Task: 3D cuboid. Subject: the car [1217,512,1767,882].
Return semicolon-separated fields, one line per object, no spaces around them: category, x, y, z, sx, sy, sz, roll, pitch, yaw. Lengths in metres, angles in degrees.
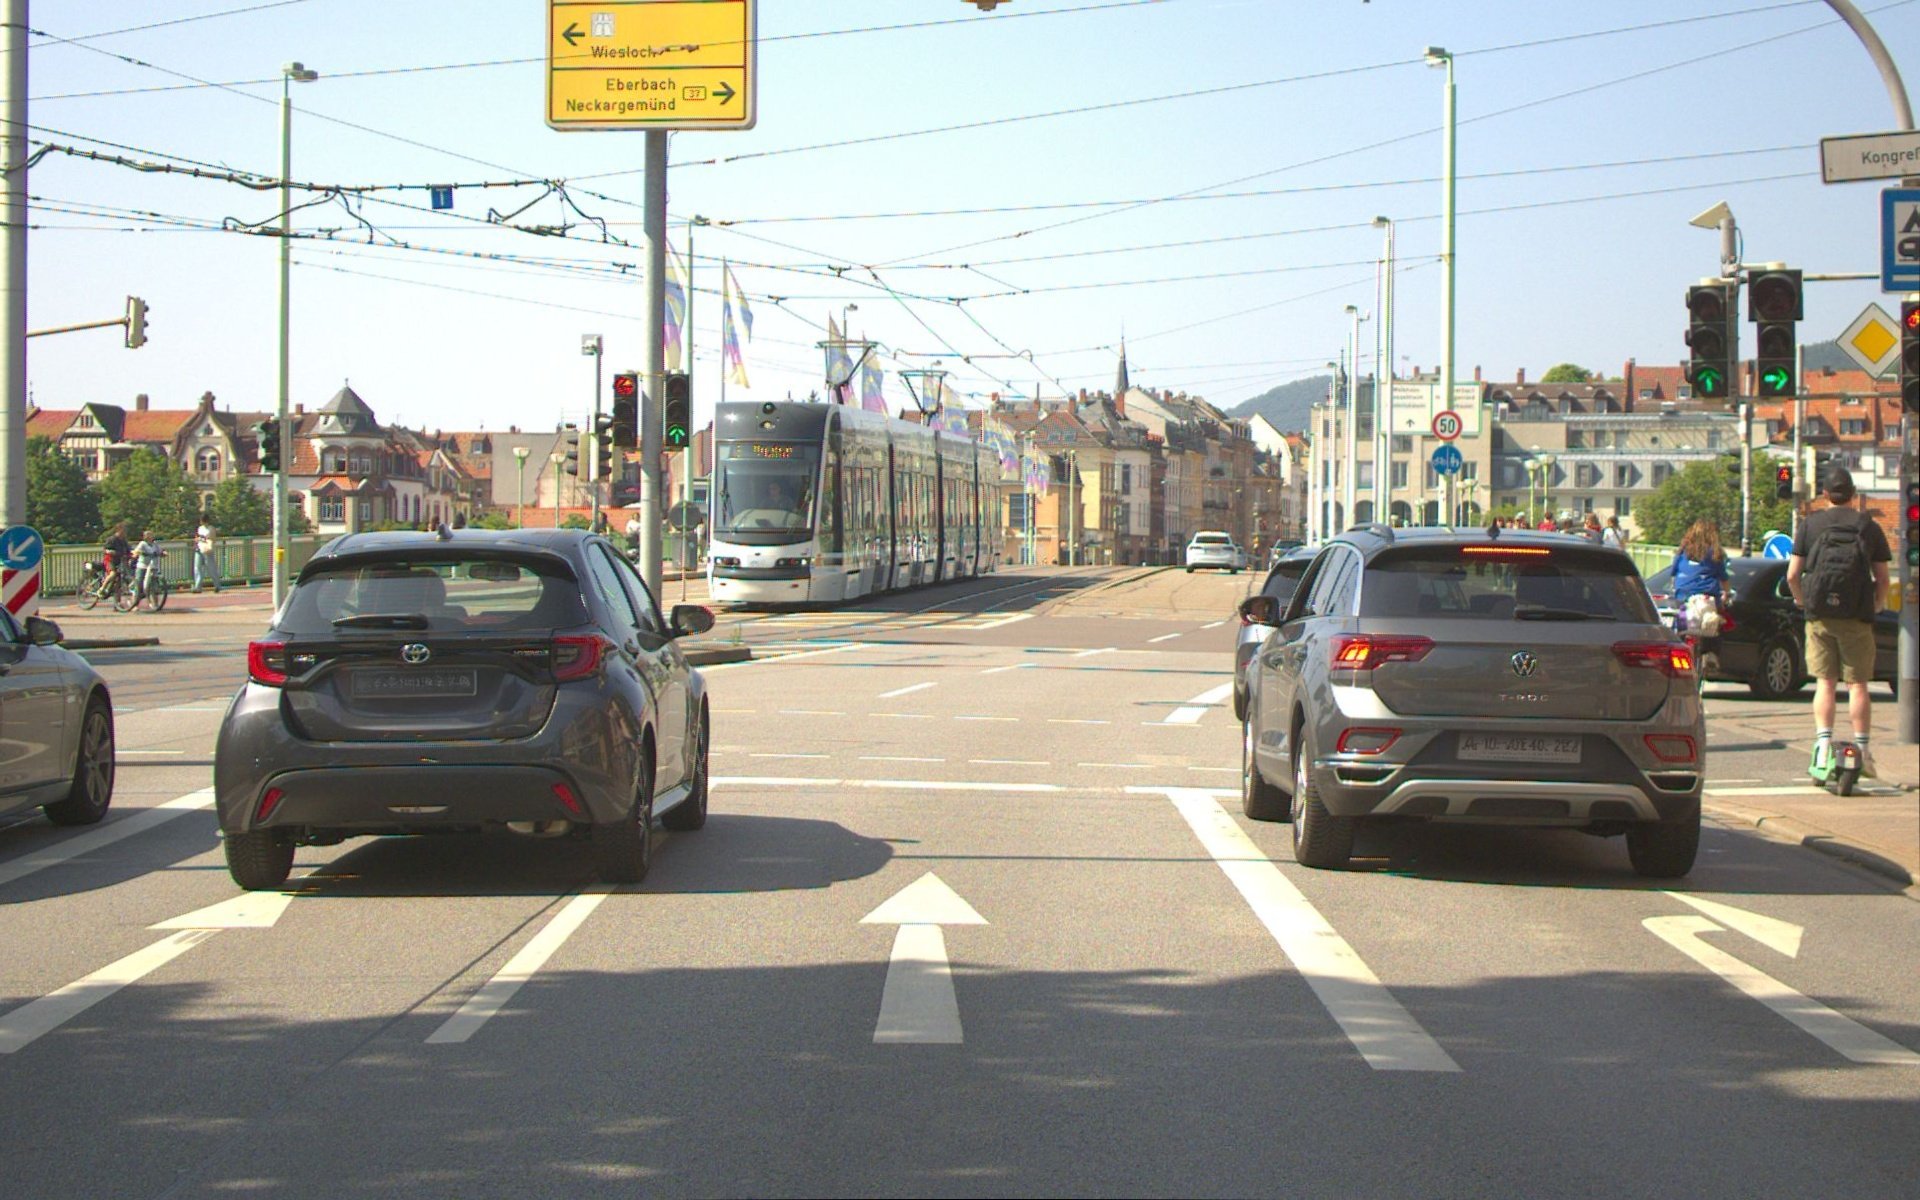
car;2.398;0.361;16.536;1.929;1.510;3.993;2;1;-1

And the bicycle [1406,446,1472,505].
bicycle;9.281;-2.397;66.783;0.792;1.092;3.745;0;1;1

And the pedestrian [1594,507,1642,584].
pedestrian;14.063;-1.162;73.484;0.799;1.629;0.950;0;1;-1

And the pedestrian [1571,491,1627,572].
pedestrian;14.049;-1.516;75.597;0.985;1.763;1.254;0;1;-1

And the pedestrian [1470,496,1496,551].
pedestrian;16.852;-2.481;110.819;0.654;1.737;0.978;1;2;0

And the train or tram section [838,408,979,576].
train or tram section;-1.101;-2.521;79.972;2.404;3.668;9.619;0;2;4

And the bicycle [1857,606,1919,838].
bicycle;5.069;0.611;16.770;0.778;1.098;2.139;0;1;-1

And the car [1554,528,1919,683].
car;8.171;0.006;35.605;3.989;1.431;1.999;-2;3;-44

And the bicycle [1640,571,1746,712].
bicycle;6.493;0.346;30.537;0.615;1.160;2.249;1;1;5

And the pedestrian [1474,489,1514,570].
pedestrian;13.300;-1.754;85.688;0.803;2.007;0.954;1;1;-1

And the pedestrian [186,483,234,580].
pedestrian;-15.617;-1.433;71.594;0.898;2.007;0.835;-1;1;-17

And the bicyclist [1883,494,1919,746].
bicyclist;5.085;0.091;16.717;0.920;1.215;0.972;0;1;-1

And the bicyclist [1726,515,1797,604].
bicyclist;13.726;-0.704;58.911;1.080;1.469;0.800;2;2;9

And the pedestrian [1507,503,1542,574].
pedestrian;13.848;-1.508;84.366;0.695;1.710;0.732;1;1;-1

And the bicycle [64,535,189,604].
bicycle;-15.673;-0.576;64.666;2.236;1.274;0.740;-1;1;-17

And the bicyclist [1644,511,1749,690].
bicyclist;6.500;-0.011;30.381;0.775;1.548;1.059;1;2;6

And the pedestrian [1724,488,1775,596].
pedestrian;13.733;-1.011;59.804;0.774;1.849;0.644;1;2;8

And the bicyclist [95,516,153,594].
bicyclist;-15.730;-0.854;64.675;1.003;1.444;0.816;-1;1;-17

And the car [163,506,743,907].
car;-2.131;0.373;15.580;1.910;1.535;4.000;-2;1;1

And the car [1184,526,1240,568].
car;8.892;-1.859;121.541;1.804;1.464;4.000;-1;0;2

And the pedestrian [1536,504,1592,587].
pedestrian;12.943;-1.172;73.702;0.985;1.744;0.930;1;1;-1

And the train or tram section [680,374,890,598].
train or tram section;-3.041;-2.069;62.382;2.537;3.764;9.168;0;2;5

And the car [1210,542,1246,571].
car;16.114;-2.623;206.863;1.994;1.711;4.000;1;1;3

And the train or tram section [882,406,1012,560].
train or tram section;-0.235;-3.061;89.943;2.470;3.764;11.849;0;2;4

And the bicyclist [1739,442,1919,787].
bicyclist;5.202;0.072;20.454;0.941;2.007;0.830;0;1;-1

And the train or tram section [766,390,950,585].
train or tram section;-1.991;-2.326;71.029;2.538;3.764;9.168;0;2;6

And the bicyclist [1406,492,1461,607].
bicyclist;7.246;-0.771;52.659;0.673;1.738;1.150;0;1;1

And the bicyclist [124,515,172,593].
bicyclist;-15.511;-0.883;65.632;0.823;1.488;0.877;-1;1;-17

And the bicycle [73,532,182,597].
bicycle;-15.856;-0.684;65.480;1.968;1.205;0.640;-1;1;-17

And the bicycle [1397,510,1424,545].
bicycle;15.754;-2.543;120.308;0.695;1.189;2.079;0;0;1

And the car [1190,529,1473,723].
car;3.027;0.160;28.780;1.993;1.481;4.000;0;2;1

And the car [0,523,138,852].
car;-5.230;0.412;15.642;1.748;1.481;4.748;-1;2;1

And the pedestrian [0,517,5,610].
pedestrian;-17.898;-0.668;62.701;0.834;1.691;1.098;-1;1;-20

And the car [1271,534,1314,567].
car;15.170;-2.245;156.846;1.804;1.464;3.999;-1;0;7

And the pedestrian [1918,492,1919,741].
pedestrian;7.104;0.119;23.743;0.705;1.747;0.903;0;0;-2

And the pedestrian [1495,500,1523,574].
pedestrian;13.359;-1.525;83.644;0.549;1.793;0.646;1;1;-1
